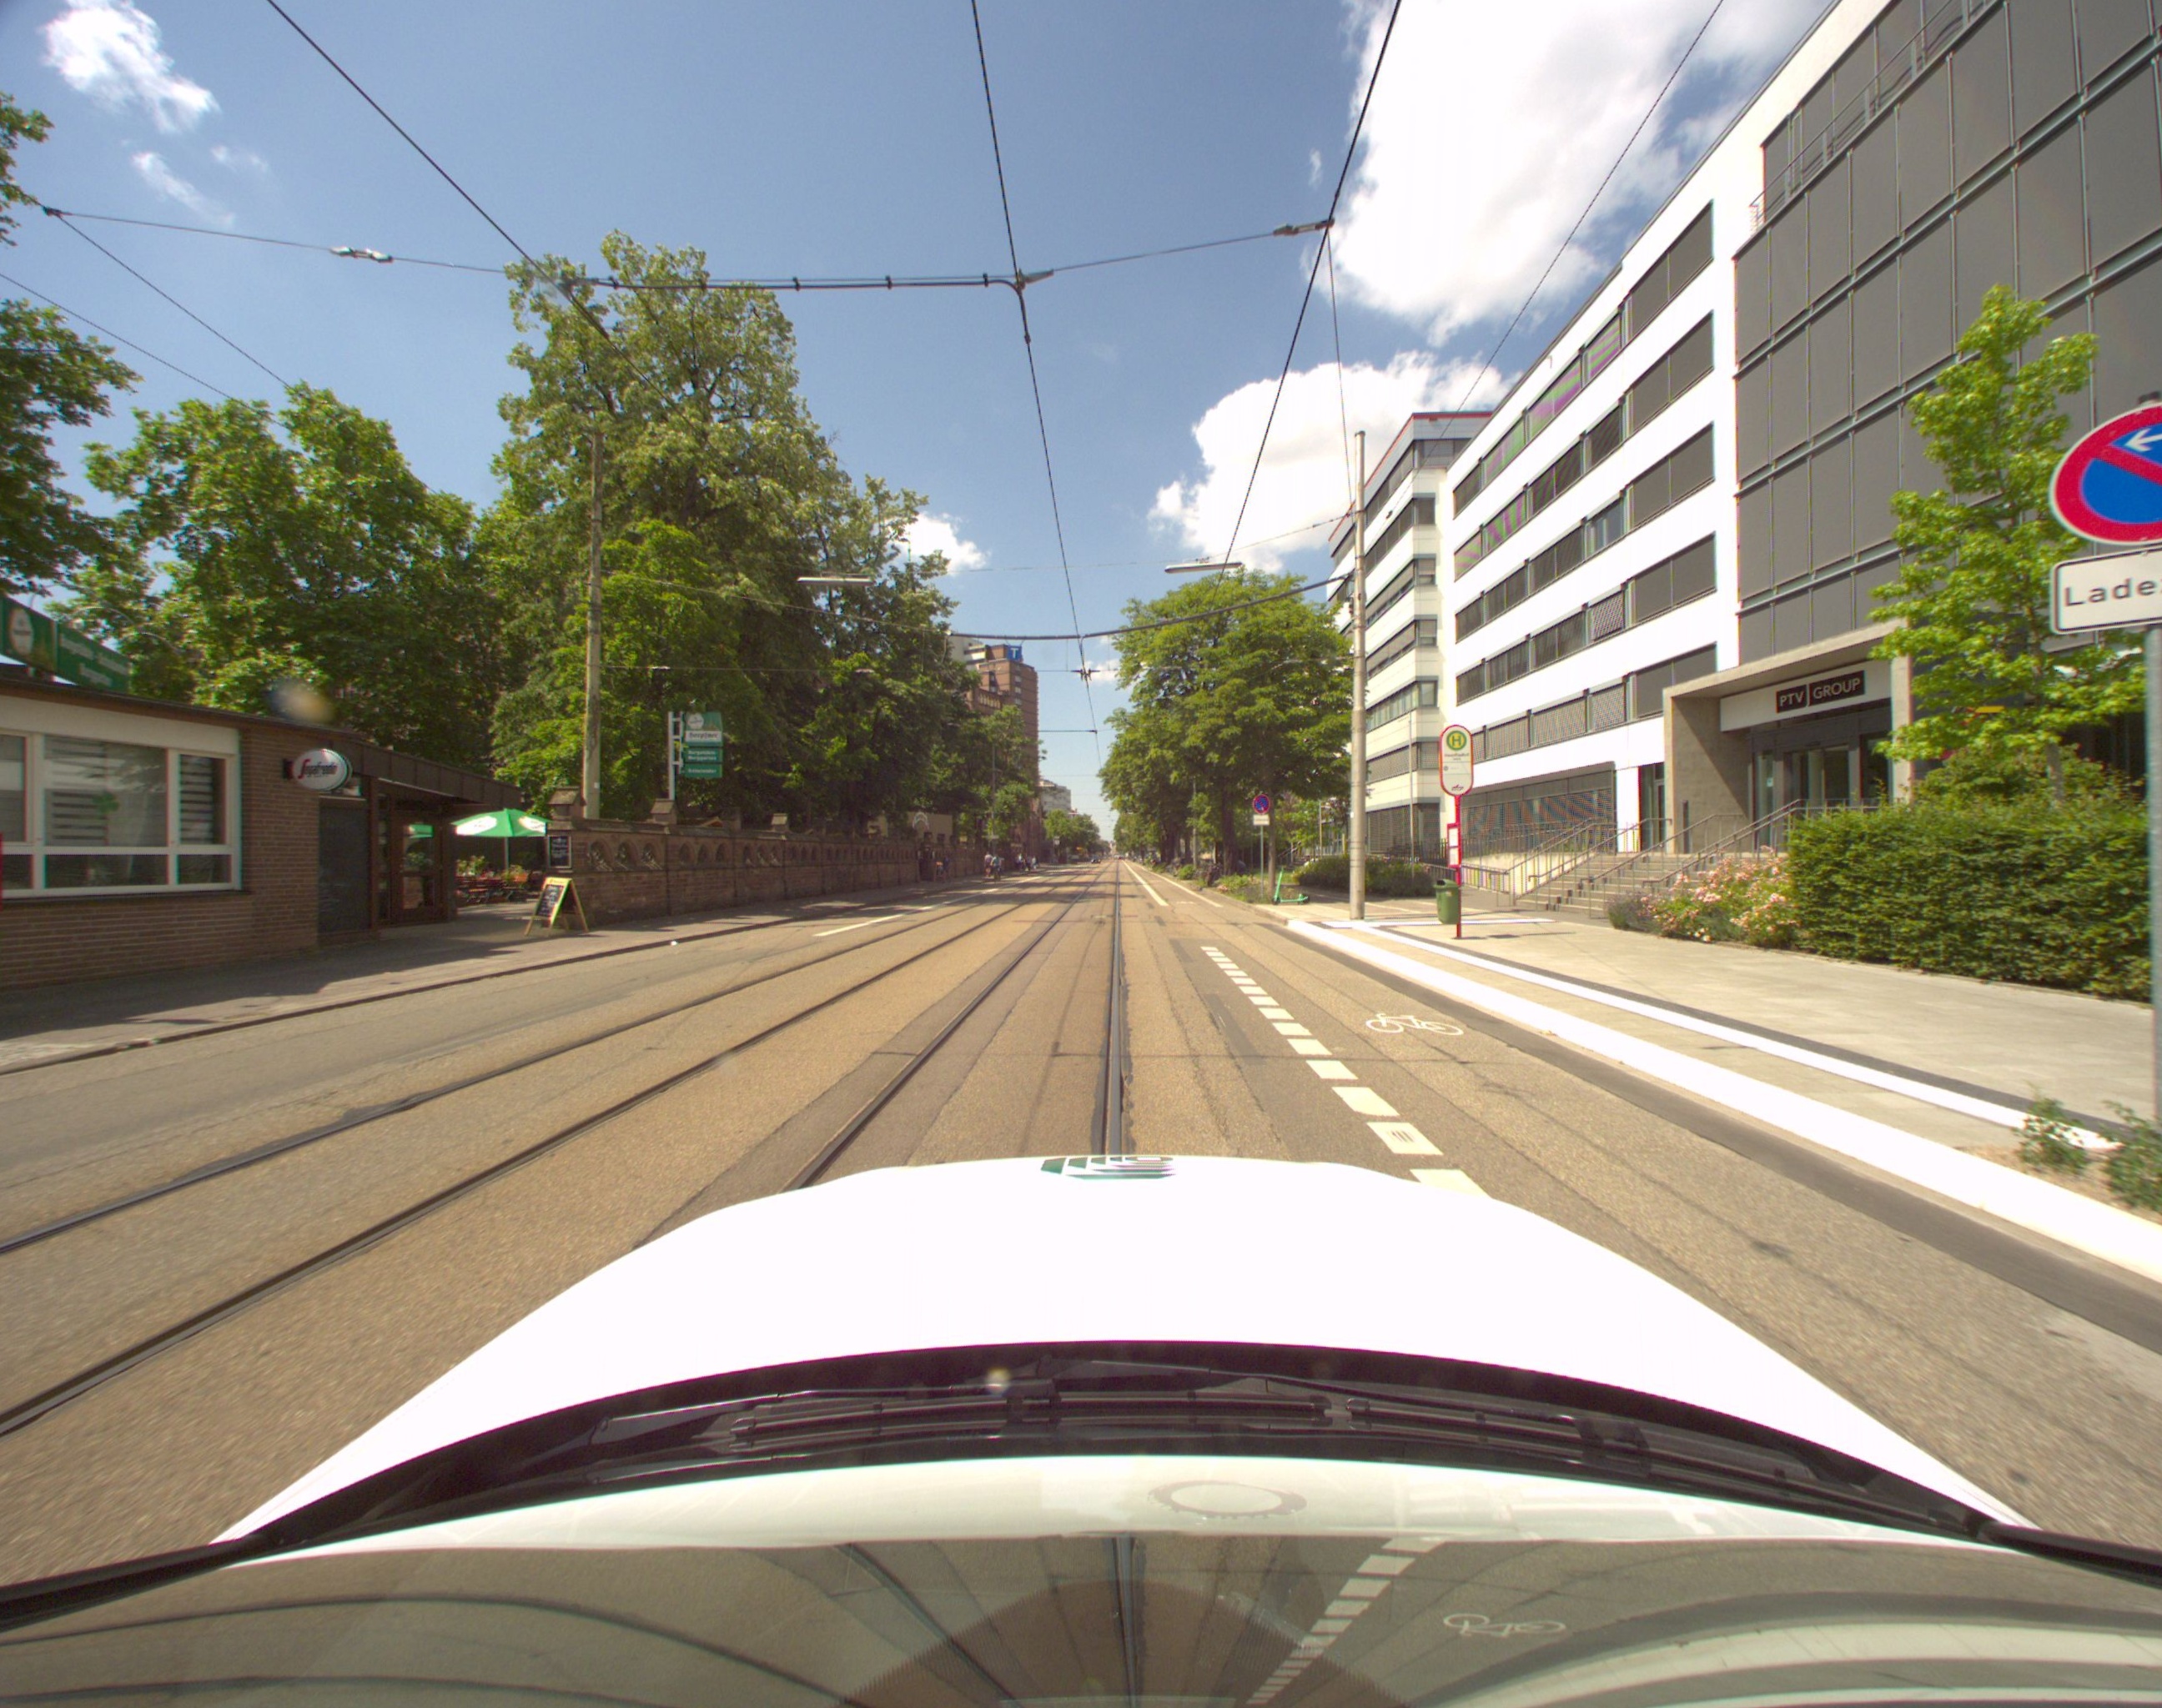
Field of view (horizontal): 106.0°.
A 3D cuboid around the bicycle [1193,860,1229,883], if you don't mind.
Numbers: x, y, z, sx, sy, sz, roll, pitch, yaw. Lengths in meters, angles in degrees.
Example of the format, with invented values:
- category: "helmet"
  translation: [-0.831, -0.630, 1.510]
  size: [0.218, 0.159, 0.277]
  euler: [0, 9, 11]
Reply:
- category: "bicycle"
  translation: [6.594, 0.900, 41.278]
  size: [1.747, 1.165, 0.530]
  euler: [0, -1, -1]

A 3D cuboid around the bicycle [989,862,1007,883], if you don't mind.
- category: "bicycle"
  translation: [-5.034, 1.127, 49.509]
  size: [0.698, 1.204, 2.241]
  euler: [-3, 0, 2]

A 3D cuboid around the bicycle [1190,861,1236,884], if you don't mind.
- category: "bicycle"
  translation: [7.220, 1.001, 44.622]
  size: [2.498, 1.209, 0.743]
  euler: [-1, 0, 6]

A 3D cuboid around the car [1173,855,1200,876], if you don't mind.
- category: "car"
  translation: [7.826, 0.816, 60.485]
  size: [1.627, 1.501, 4.002]
  euler: [-1, 0, 2]

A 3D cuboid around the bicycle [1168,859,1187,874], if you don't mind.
- category: "bicycle"
  translation: [7.875, 1.003, 66.389]
  size: [1.557, 1.241, 0.437]
  euler: [-1, 0, 3]

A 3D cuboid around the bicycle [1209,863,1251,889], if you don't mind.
- category: "bicycle"
  translation: [6.697, 0.979, 36.527]
  size: [1.782, 1.102, 0.532]
  euler: [-1, 0, 0]

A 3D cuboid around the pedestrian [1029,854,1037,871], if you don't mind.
- category: "pedestrian"
  translation: [-5.031, 0.915, 84.719]
  size: [0.740, 1.728, 0.868]
  euler: [0, 0, 2]

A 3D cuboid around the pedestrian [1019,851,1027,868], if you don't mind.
- category: "pedestrian"
  translation: [-6.101, 0.580, 86.351]
  size: [0.740, 1.728, 0.868]
  euler: [0, 0, 2]

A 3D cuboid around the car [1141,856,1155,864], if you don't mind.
- category: "car"
  translation: [10.795, 0.997, 131.186]
  size: [1.986, 1.310, 4.002]
  euler: [-1, 0, 2]

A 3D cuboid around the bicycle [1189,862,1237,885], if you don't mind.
- category: "bicycle"
  translation: [7.095, 1.031, 43.899]
  size: [2.498, 1.209, 0.623]
  euler: [-1, 0, 6]

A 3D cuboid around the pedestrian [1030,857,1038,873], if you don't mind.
- category: "pedestrian"
  translation: [-5.110, 1.225, 88.258]
  size: [0.740, 1.728, 0.868]
  euler: [0, 0, 1]

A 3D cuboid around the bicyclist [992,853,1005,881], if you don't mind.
- category: "bicyclist"
  translation: [-5.037, 0.810, 49.614]
  size: [0.639, 1.679, 0.815]
  euler: [-1, 0, 3]

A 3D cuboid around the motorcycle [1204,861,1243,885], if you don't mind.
- category: "motorcycle"
  translation: [6.940, 0.919, 39.811]
  size: [1.817, 1.110, 0.599]
  euler: [-1, 0, 2]

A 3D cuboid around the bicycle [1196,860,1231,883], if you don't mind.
- category: "bicycle"
  translation: [6.796, 0.904, 41.774]
  size: [1.747, 1.165, 0.530]
  euler: [0, -1, -1]

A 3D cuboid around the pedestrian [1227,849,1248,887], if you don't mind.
- category: "pedestrian"
  translation: [7.162, 0.644, 37.320]
  size: [0.802, 1.715, 0.577]
  euler: [0, -1, -45]

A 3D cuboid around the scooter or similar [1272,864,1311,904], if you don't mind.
- category: "scooter or similar"
  translation: [6.317, 0.908, 24.453]
  size: [1.054, 1.156, 0.371]
  euler: [-2, -1, 2]

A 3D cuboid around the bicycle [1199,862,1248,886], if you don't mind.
- category: "bicycle"
  translation: [7.403, 1.029, 42.404]
  size: [2.498, 1.209, 0.649]
  euler: [-1, 0, 6]

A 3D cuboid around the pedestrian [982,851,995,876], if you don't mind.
- category: "pedestrian"
  translation: [-6.730, 0.691, 59.319]
  size: [0.811, 1.770, 0.925]
  euler: [0, 0, 2]

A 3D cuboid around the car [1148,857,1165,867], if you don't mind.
- category: "car"
  translation: [10.137, 1.077, 109.725]
  size: [1.986, 1.310, 4.002]
  euler: [-1, 0, 2]

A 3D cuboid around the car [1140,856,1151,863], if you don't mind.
- category: "car"
  translation: [12.853, 1.106, 161.884]
  size: [1.986, 1.310, 4.002]
  euler: [-1, 0, 2]

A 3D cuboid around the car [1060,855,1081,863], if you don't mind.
- category: "car"
  translation: [-2.626, 1.227, 200.624]
  size: [4.752, 1.717, 1.983]
  euler: [-1, 0, -25]

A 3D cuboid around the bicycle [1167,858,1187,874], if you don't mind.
- category: "bicycle"
  translation: [7.868, 0.996, 66.894]
  size: [1.557, 1.241, 0.437]
  euler: [-1, 0, 3]

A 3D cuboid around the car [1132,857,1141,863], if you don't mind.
- category: "car"
  translation: [13.996, 1.517, 205.737]
  size: [1.986, 1.310, 4.002]
  euler: [-1, 0, 2]

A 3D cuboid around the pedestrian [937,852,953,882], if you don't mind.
- category: "pedestrian"
  translation: [-7.815, 0.760, 46.870]
  size: [0.740, 1.728, 0.868]
  euler: [0, 0, 2]

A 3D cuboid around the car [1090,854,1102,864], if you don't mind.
- category: "car"
  translation: [2.988, 0.979, 162.875]
  size: [1.984, 2.013, 4.005]
  euler: [0, 0, 5]

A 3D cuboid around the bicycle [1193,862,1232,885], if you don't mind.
- category: "bicycle"
  translation: [6.979, 1.020, 43.205]
  size: [1.986, 1.209, 0.663]
  euler: [-1, 0, 6]

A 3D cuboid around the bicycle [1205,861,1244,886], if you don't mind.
- category: "bicycle"
  translation: [6.725, 0.926, 38.250]
  size: [1.747, 1.165, 0.530]
  euler: [0, -1, -1]

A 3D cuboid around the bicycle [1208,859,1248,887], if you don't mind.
- category: "bicycle"
  translation: [6.784, 0.867, 37.692]
  size: [1.747, 1.271, 0.530]
  euler: [0, -1, -1]

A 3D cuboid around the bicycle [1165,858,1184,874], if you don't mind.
- category: "bicycle"
  translation: [7.800, 0.994, 68.010]
  size: [1.557, 1.241, 0.437]
  euler: [-1, 0, 3]
